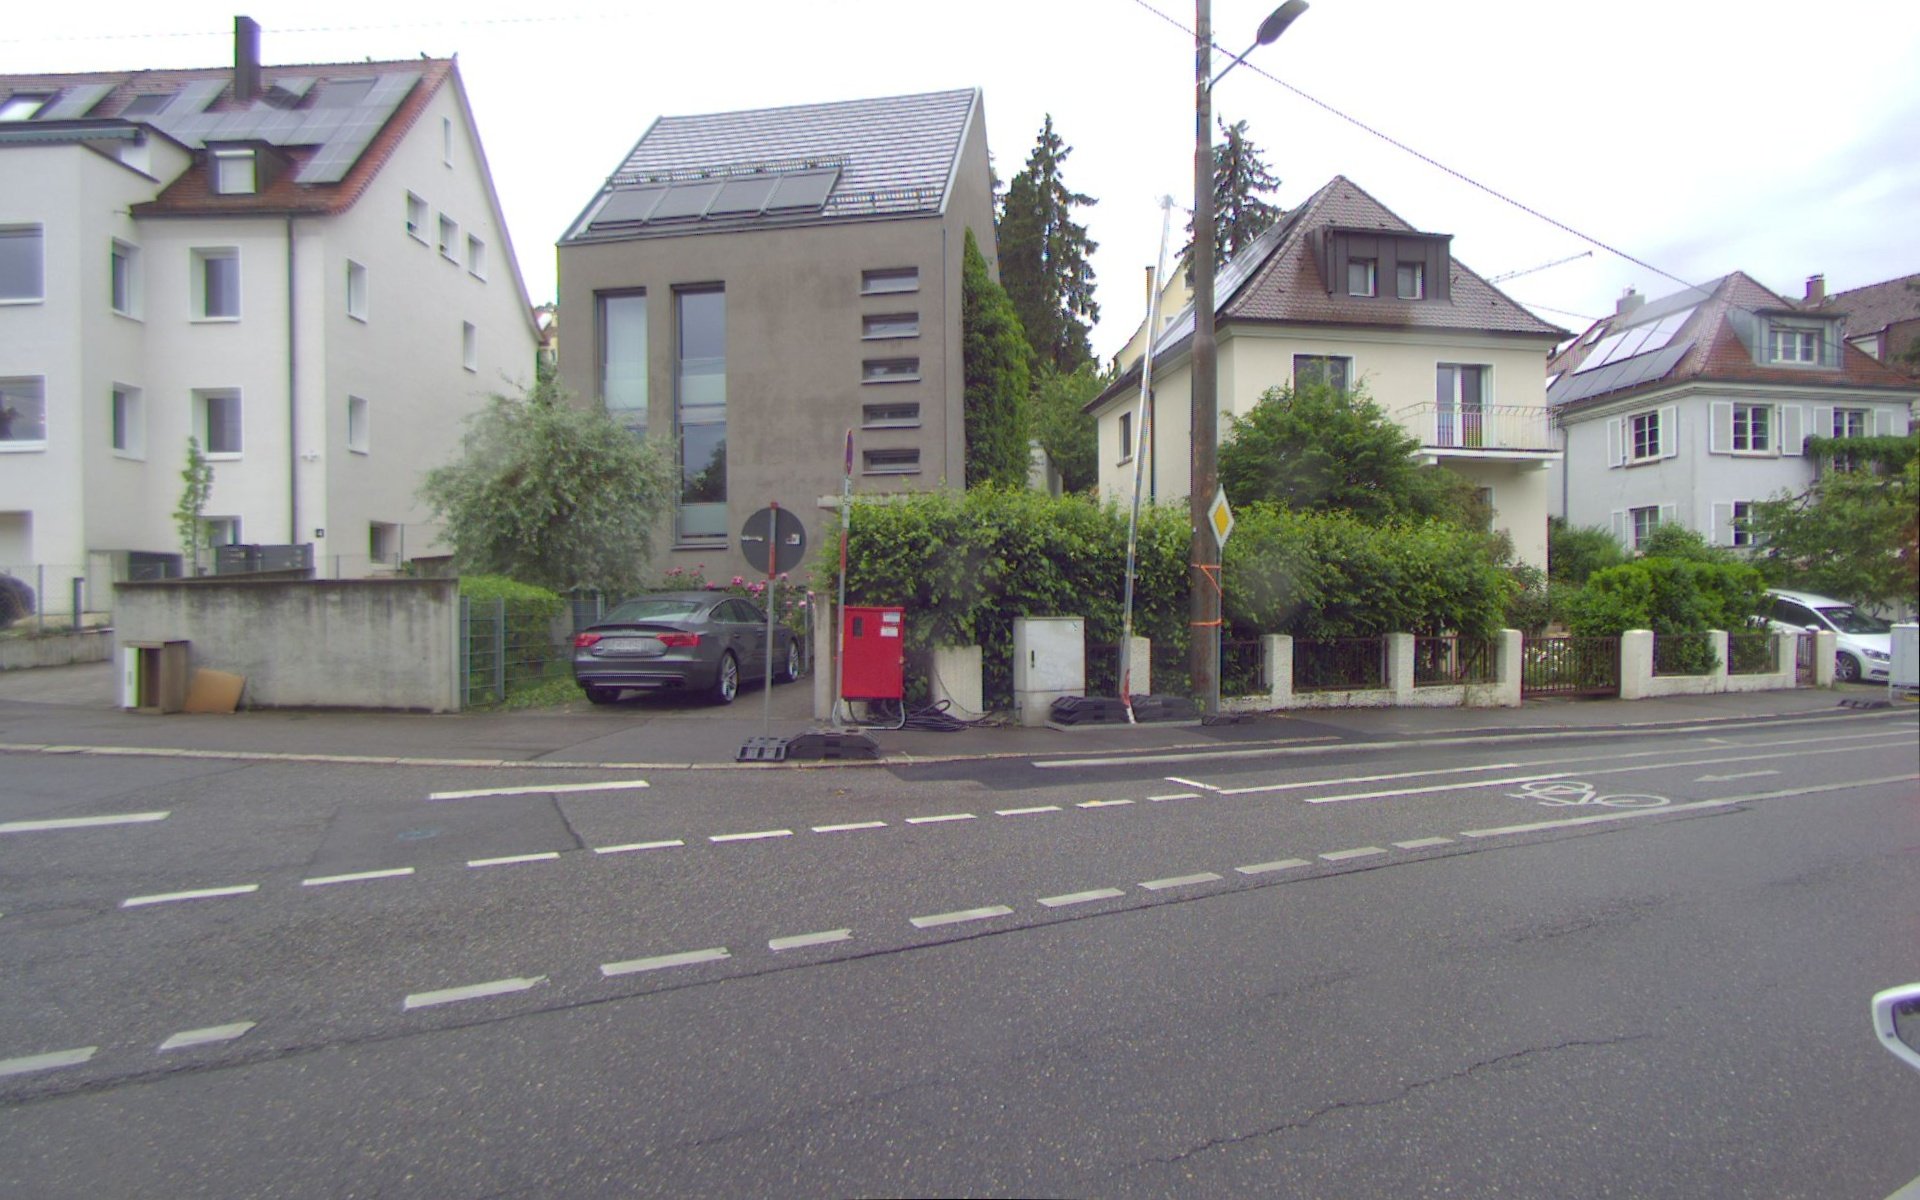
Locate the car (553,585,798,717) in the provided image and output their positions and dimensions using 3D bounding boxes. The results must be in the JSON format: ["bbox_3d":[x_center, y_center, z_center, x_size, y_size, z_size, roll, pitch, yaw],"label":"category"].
[{"bbox_3d":[-3.617,0.560,13.580,1.740,1.506,4.002,0,1,7],"label":"car"}]

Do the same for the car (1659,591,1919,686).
[{"bbox_3d":[19.586,0.816,23.917,1.870,2.033,4.628,1,0,-18],"label":"car"}]

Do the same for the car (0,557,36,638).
[{"bbox_3d":[-16.741,0.043,15.173,1.576,1.298,4.008,2,4,6],"label":"car"}]
